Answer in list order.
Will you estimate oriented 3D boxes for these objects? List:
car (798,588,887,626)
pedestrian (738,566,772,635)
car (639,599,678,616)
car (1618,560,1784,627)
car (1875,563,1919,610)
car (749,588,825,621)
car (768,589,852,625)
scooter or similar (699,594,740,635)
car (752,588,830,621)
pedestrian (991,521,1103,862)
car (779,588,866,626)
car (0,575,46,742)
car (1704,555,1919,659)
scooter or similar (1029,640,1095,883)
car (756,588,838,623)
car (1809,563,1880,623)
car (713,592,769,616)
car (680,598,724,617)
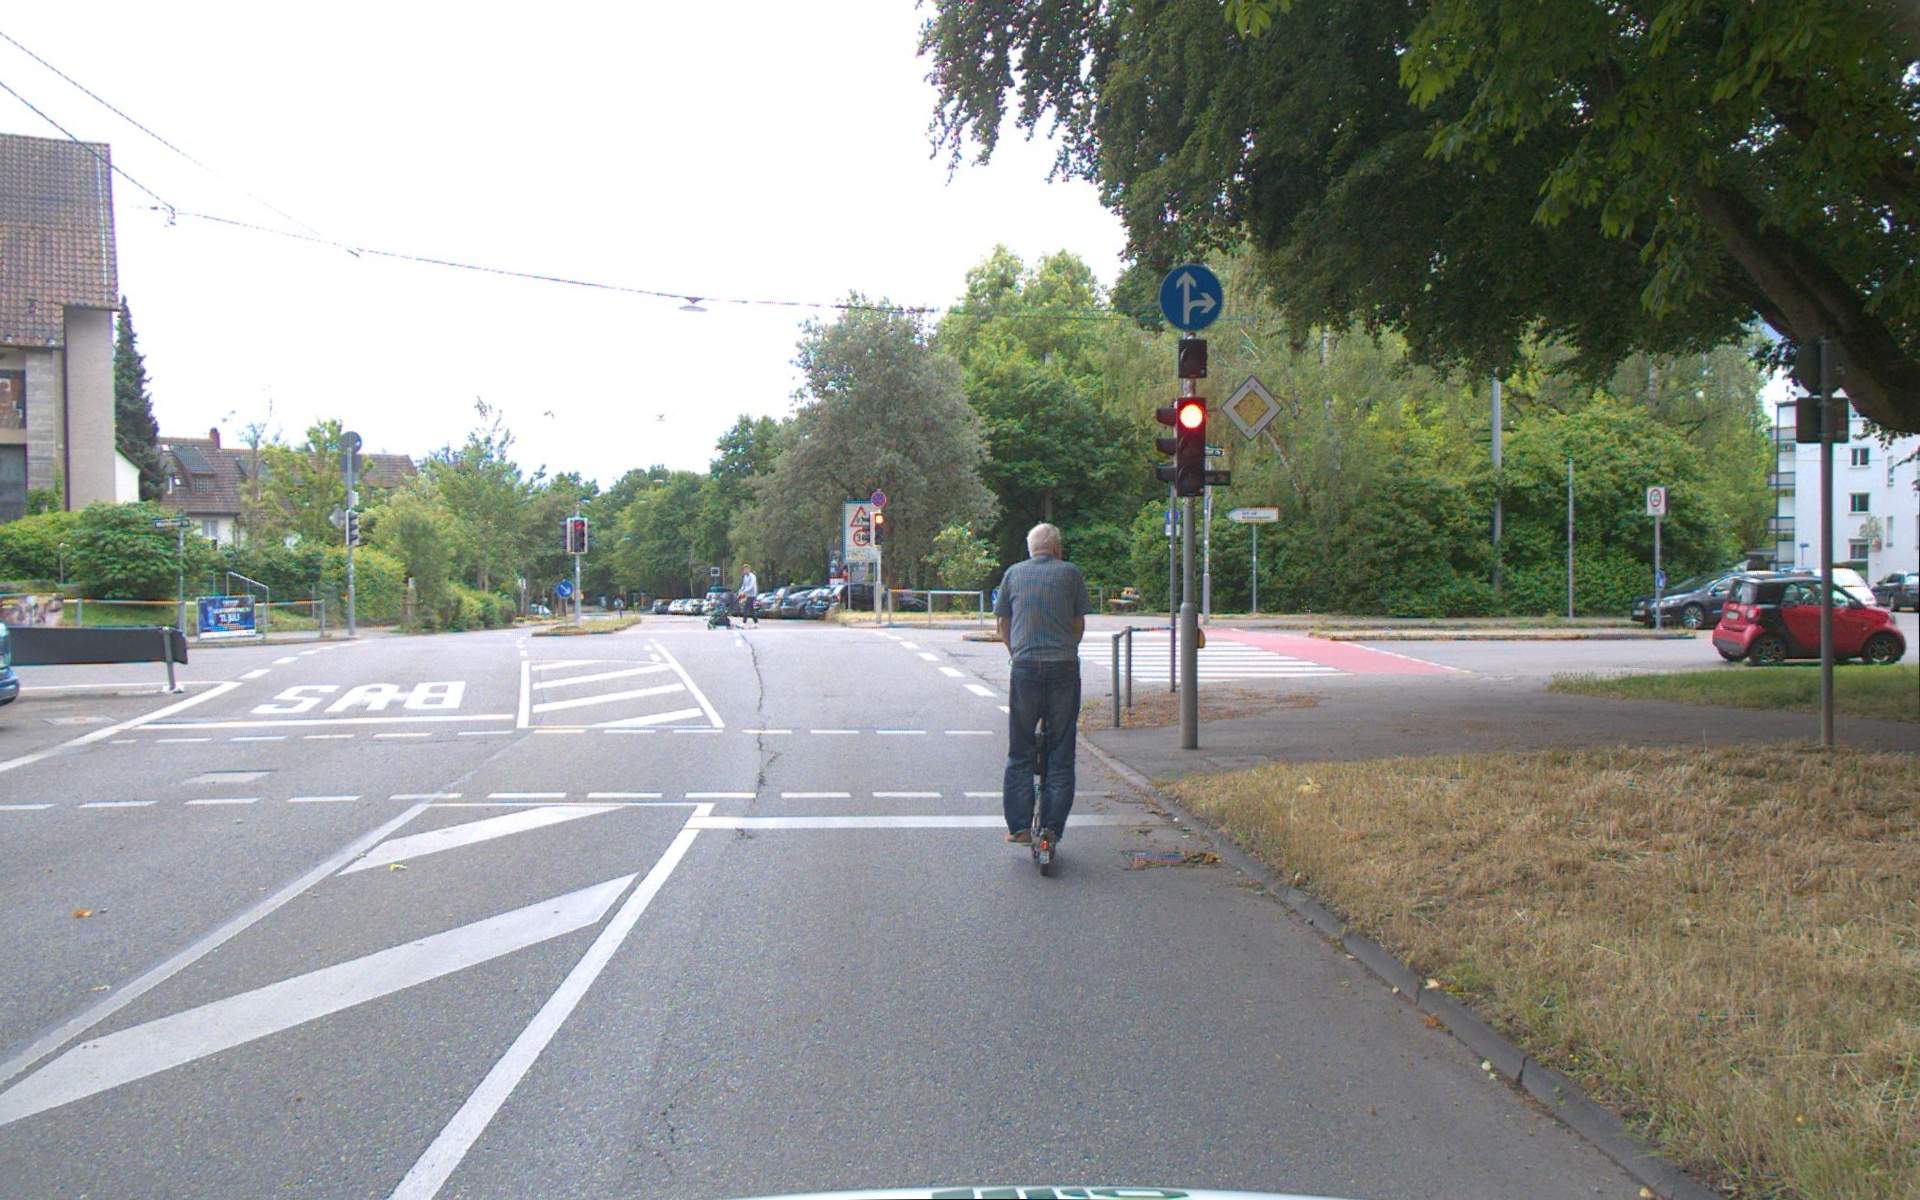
[{"bbox_3d":[-5.490,0.322,77.320,3.788,1.639,1.717,-2,1,-22],"label":"car"},{"bbox_3d":[-5.645,0.010,45.493,0.868,1.895,0.573,-1,0,-11],"label":"pedestrian"},{"bbox_3d":[-32.360,0.809,177.537,3.791,1.639,1.715,-2,1,-24],"label":"car"},{"bbox_3d":[18.788,-0.167,42.049,3.444,1.557,1.729,-2,1,5],"label":"car"},{"bbox_3d":[35.318,-0.513,61.387,1.686,1.639,3.856,-2,1,19],"label":"car"},{"bbox_3d":[-9.560,0.236,91.499,3.791,1.639,1.715,-2,1,-24],"label":"car"},{"bbox_3d":[-7.405,0.320,81.787,3.791,1.639,1.715,-2,1,-24],"label":"car"},{"bbox_3d":[-6.585,0.386,45.273,1.087,1.100,0.576,-1,0,-10],"label":"scooter or similar"},{"bbox_3d":[-9.102,0.238,89.097,3.791,1.639,1.715,-2,1,-24],"label":"car"},{"bbox_3d":[0.488,0.499,9.197,0.560,1.845,0.421,-1,0,7],"label":"pedestrian"},{"bbox_3d":[-6.591,0.327,79.265,3.793,1.639,1.714,-2,1,-25],"label":"car"},{"bbox_3d":[-11.525,0.639,16.407,3.923,1.639,1.810,-2,1,-17],"label":"car"},{"bbox_3d":[14.996,0.098,28.615,3.444,1.639,1.729,-2,1,4],"label":"car"},{"bbox_3d":[0.571,0.843,9.059,0.276,1.199,1.178,-1,0,7],"label":"scooter or similar"},{"bbox_3d":[-8.272,0.277,83.802,3.791,1.639,1.715,-2,1,-24],"label":"car"},{"bbox_3d":[25.987,-0.233,48.688,1.689,1.639,3.850,-2,1,26],"label":"car"},{"bbox_3d":[-16.453,0.307,124.170,3.791,1.639,1.715,-2,1,-24],"label":"car"},{"bbox_3d":[-24.328,0.696,156.161,3.791,1.639,1.715,-2,1,-24],"label":"car"}]
